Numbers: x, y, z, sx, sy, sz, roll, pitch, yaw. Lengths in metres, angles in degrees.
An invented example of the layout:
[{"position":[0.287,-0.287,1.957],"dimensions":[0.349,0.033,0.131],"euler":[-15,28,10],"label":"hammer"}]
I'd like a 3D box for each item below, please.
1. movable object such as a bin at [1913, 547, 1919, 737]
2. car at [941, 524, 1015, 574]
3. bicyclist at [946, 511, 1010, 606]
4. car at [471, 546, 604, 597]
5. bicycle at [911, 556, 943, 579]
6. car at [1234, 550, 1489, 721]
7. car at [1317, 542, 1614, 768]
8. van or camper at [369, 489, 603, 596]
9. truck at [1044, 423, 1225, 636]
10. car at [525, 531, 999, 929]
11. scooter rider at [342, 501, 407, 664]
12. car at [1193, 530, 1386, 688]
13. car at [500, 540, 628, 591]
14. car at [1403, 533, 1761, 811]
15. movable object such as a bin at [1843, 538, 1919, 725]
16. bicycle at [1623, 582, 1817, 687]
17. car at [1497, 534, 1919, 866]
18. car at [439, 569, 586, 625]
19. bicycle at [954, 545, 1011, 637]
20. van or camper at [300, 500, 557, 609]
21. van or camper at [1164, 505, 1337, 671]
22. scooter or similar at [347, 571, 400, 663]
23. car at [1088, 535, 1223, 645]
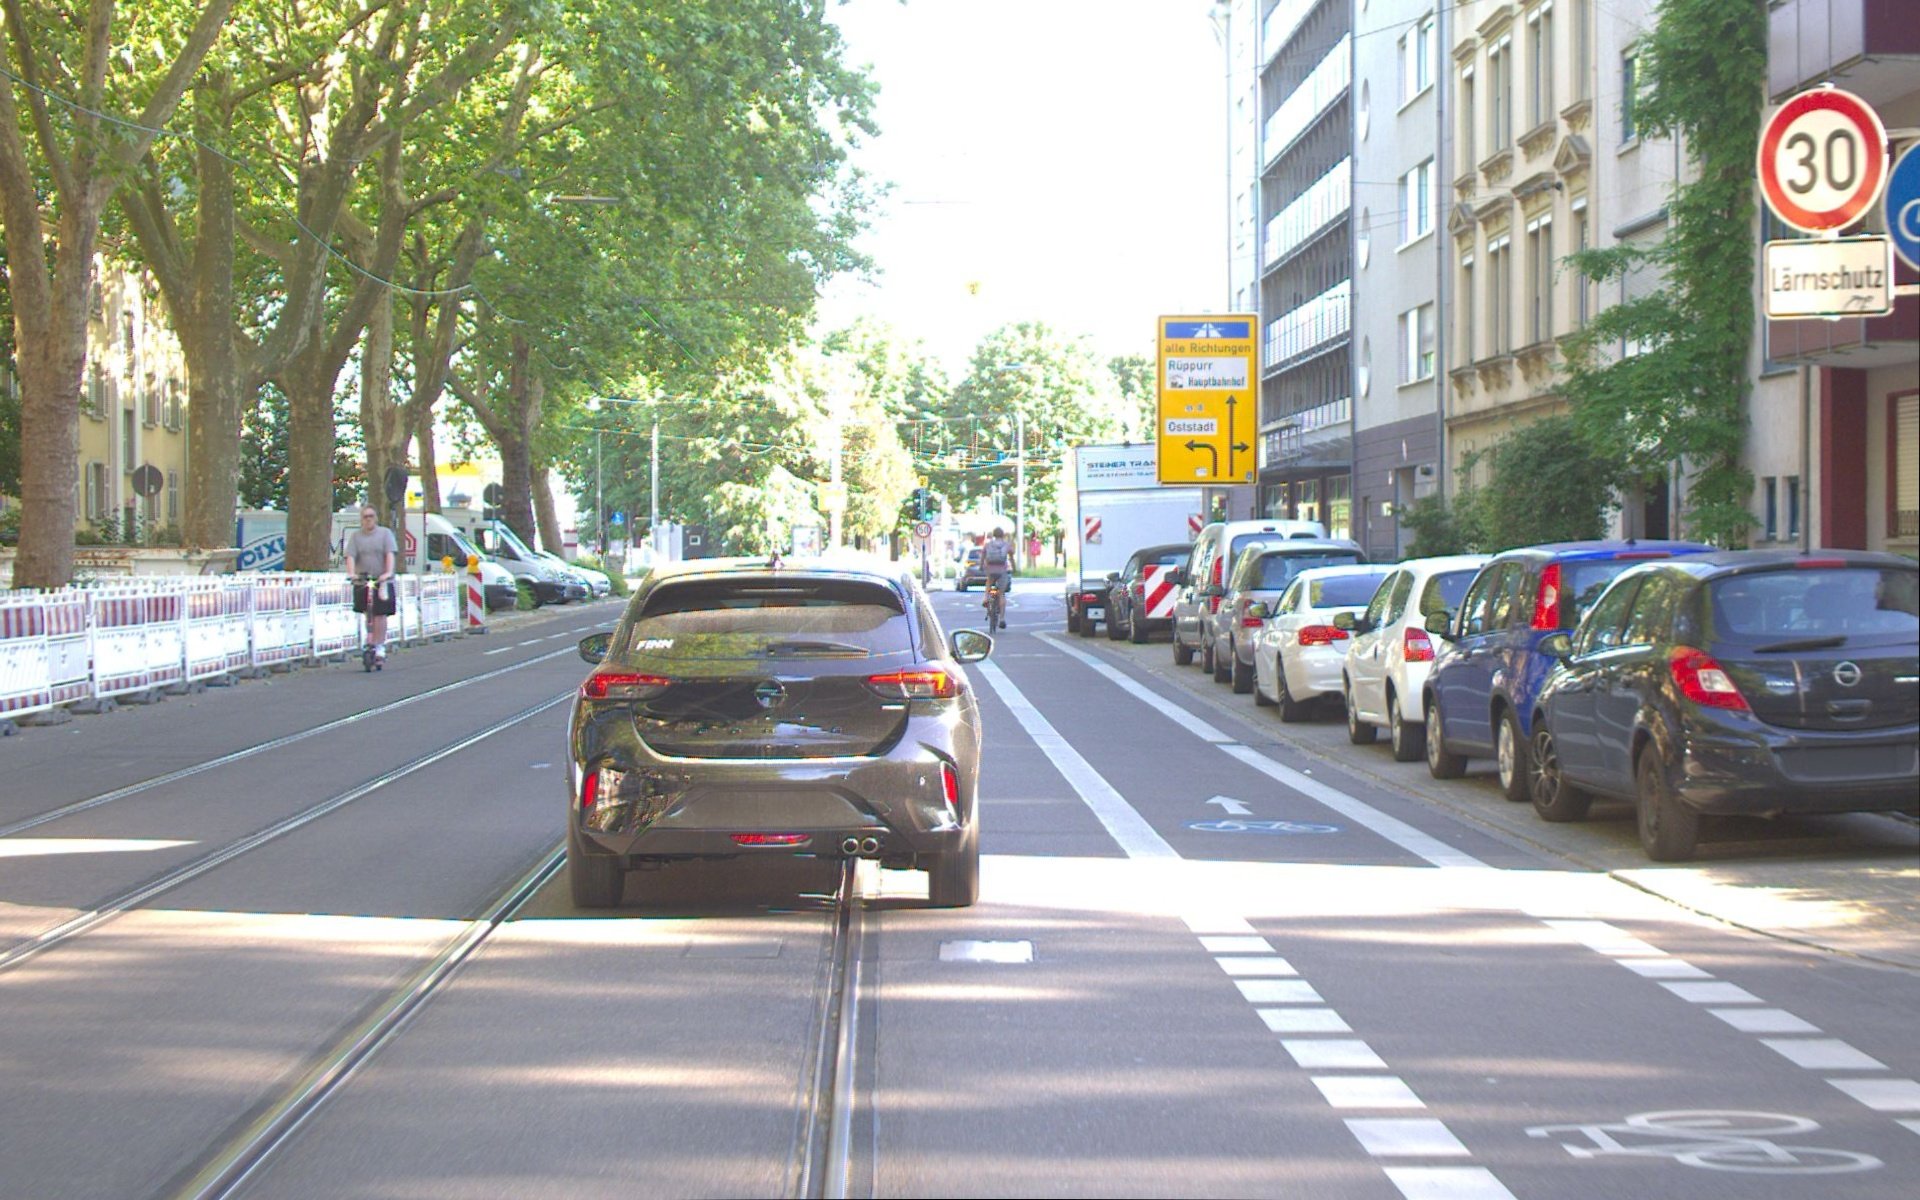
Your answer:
[{"position":[7.200,0.310,23.277],"dimensions":[0.967,1.322,1.721],"euler":[1,1,-1],"label":"movable object such as a bin"},{"position":[0.603,-1.825,122.200],"dimensions":[1.993,1.690,4.741],"euler":[-2,1,-7],"label":"car"},{"position":[0.320,-0.732,60.711],"dimensions":[1.089,1.641,1.400],"euler":[1,1,1],"label":"bicyclist"},{"position":[-13.362,-0.897,108.793],"dimensions":[3.987,1.510,1.650],"euler":[1,1,0],"label":"car"},{"position":[-1.423,-1.395,149.417],"dimensions":[0.789,0.988,2.241],"euler":[1,1,15],"label":"bicycle"},{"position":[3.646,0.267,31.950],"dimensions":[1.659,1.394,4.740],"euler":[-2,1,-1],"label":"car"},{"position":[3.730,0.363,25.923],"dimensions":[1.591,1.521,3.835],"euler":[-2,1,-1],"label":"car"},{"position":[-12.272,-1.481,89.239],"dimensions":[5.723,2.635,2.269],"euler":[1,0,0],"label":"van or camper"},{"position":[2.896,-1.191,59.057],"dimensions":[2.538,3.326,7.195],"euler":[-2,1,-1],"label":"truck"},{"position":[-0.804,0.456,15.061],"dimensions":[1.781,1.491,4.000],"euler":[1,1,-1],"label":"car"},{"position":[-7.099,-0.216,41.725],"dimensions":[0.649,1.950,0.624],"euler":[1,0,-1],"label":"scooter rider"},{"position":[3.467,0.052,36.704],"dimensions":[1.660,1.575,3.589],"euler":[-1,1,-1],"label":"car"},{"position":[-13.278,-1.163,115.346],"dimensions":[4.167,1.665,1.965],"euler":[0,1,-4],"label":"car"},{"position":[3.848,0.397,21.820],"dimensions":[1.526,1.584,3.752],"euler":[1,1,-1],"label":"car"},{"position":[7.144,0.222,25.090],"dimensions":[0.923,1.322,1.682],"euler":[1,1,-1],"label":"movable object such as a bin"},{"position":[7.913,0.357,35.827],"dimensions":[1.894,1.026,0.476],"euler":[-2,1,4],"label":"bicycle"},{"position":[3.994,0.419,17.632],"dimensions":[1.733,1.457,3.917],"euler":[-2,1,-1],"label":"car"},{"position":[-12.870,-0.093,98.951],"dimensions":[3.987,1.510,1.650],"euler":[1,1,0],"label":"car"},{"position":[0.413,-0.183,60.777],"dimensions":[0.916,1.555,3.405],"euler":[1,1,1],"label":"bicycle"},{"position":[-12.316,-1.059,79.893],"dimensions":[5.502,2.371,2.269],"euler":[1,1,3],"label":"van or camper"},{"position":[3.464,-0.181,41.659],"dimensions":[1.669,1.876,4.211],"euler":[-1,1,-1],"label":"van or camper"},{"position":[-7.116,0.199,41.729],"dimensions":[0.407,1.079,1.338],"euler":[1,1,-1],"label":"scooter or similar"},{"position":[2.964,-0.181,52.868],"dimensions":[1.730,1.552,4.152],"euler":[-2,1,-1],"label":"car"}]
